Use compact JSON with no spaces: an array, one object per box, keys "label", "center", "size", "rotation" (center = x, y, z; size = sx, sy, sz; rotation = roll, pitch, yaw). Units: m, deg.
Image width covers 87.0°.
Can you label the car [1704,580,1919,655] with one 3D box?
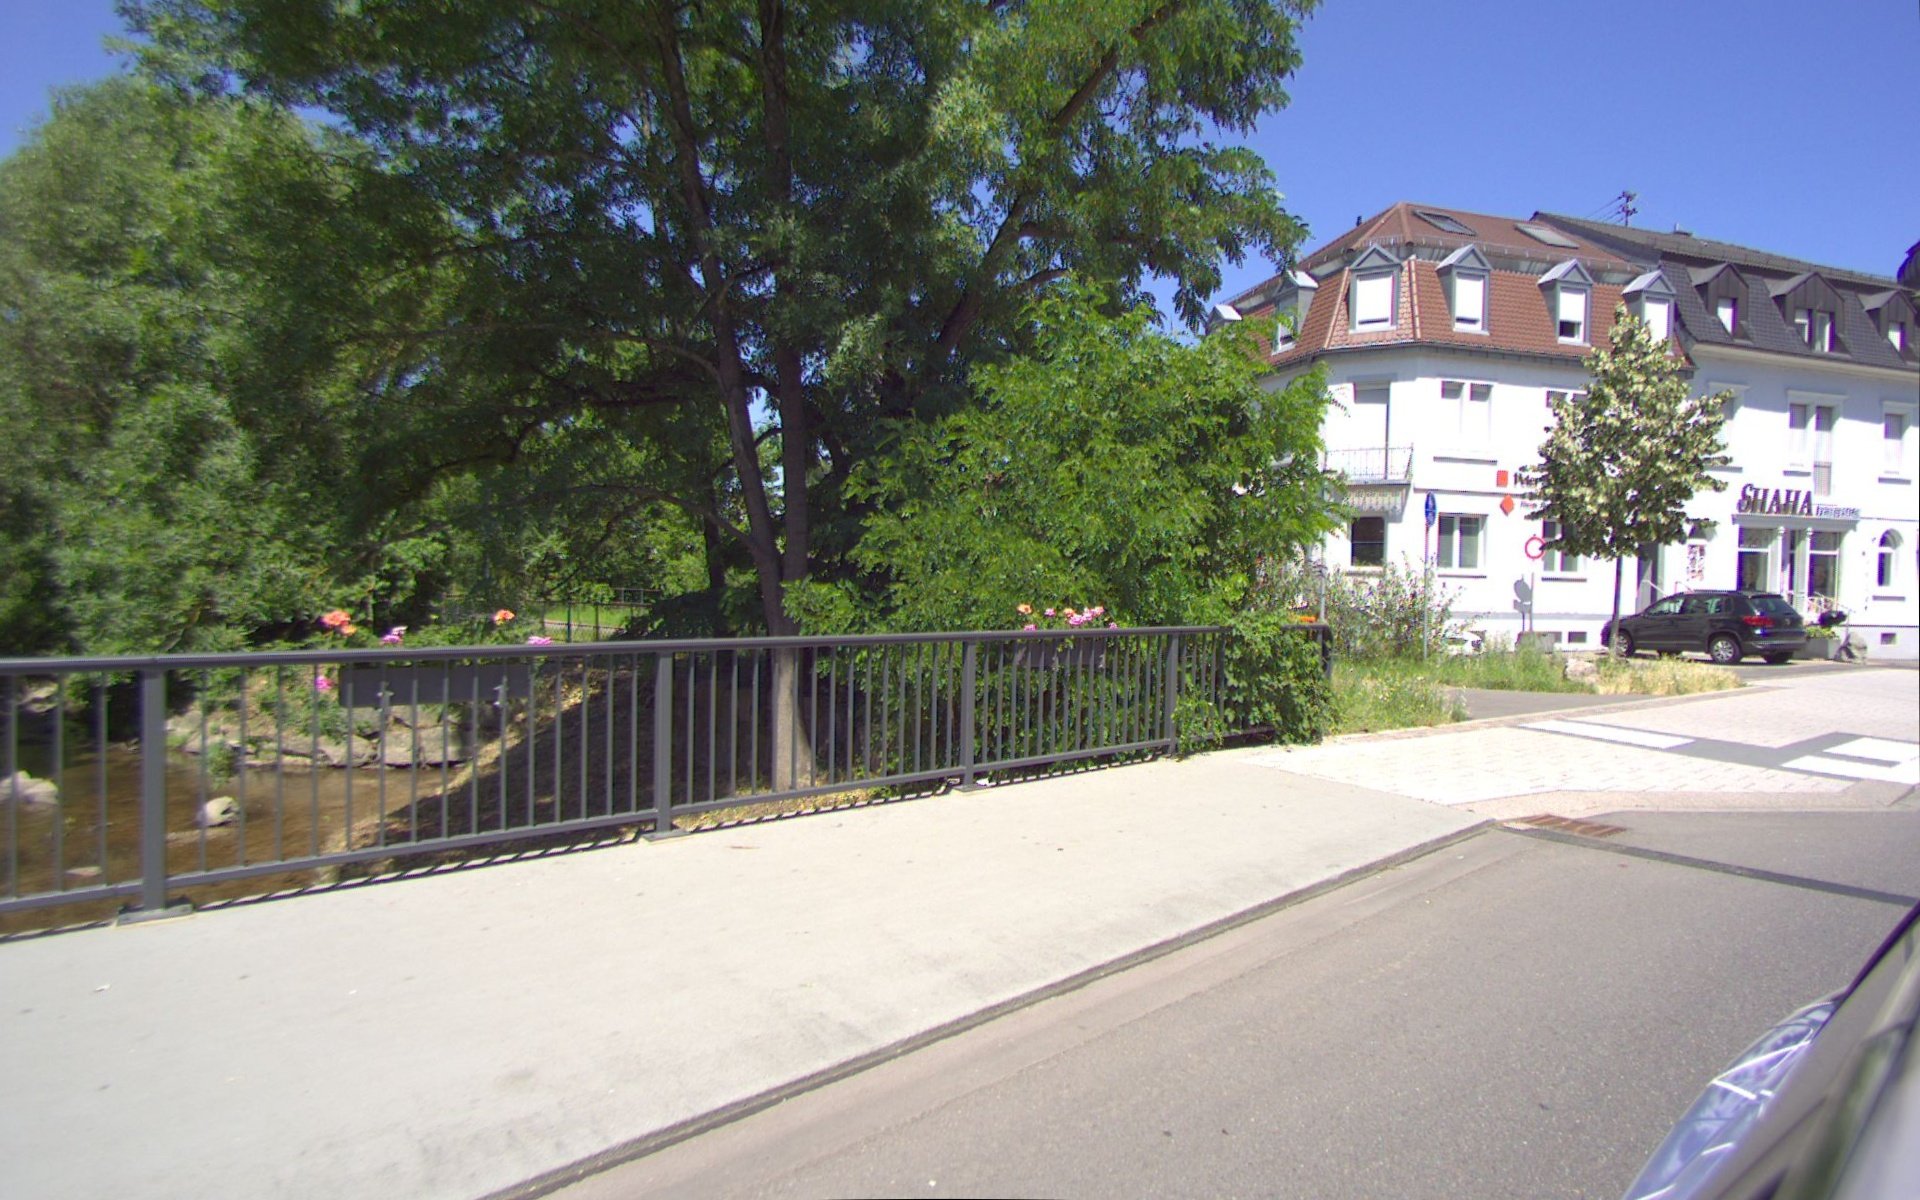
[{"label":"car","center":[21.105,0.410,25.035],"size":[1.958,1.691,4.008],"rotation":[1,0,-15]}]

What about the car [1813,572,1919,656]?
[{"label":"car","center":[24.047,0.364,25.074],"size":[1.958,2.039,4.009],"rotation":[2,1,-15]}]

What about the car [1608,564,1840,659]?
[{"label":"car","center":[17.907,0.238,23.975],"size":[1.958,2.039,4.008],"rotation":[0,0,-15]}]
